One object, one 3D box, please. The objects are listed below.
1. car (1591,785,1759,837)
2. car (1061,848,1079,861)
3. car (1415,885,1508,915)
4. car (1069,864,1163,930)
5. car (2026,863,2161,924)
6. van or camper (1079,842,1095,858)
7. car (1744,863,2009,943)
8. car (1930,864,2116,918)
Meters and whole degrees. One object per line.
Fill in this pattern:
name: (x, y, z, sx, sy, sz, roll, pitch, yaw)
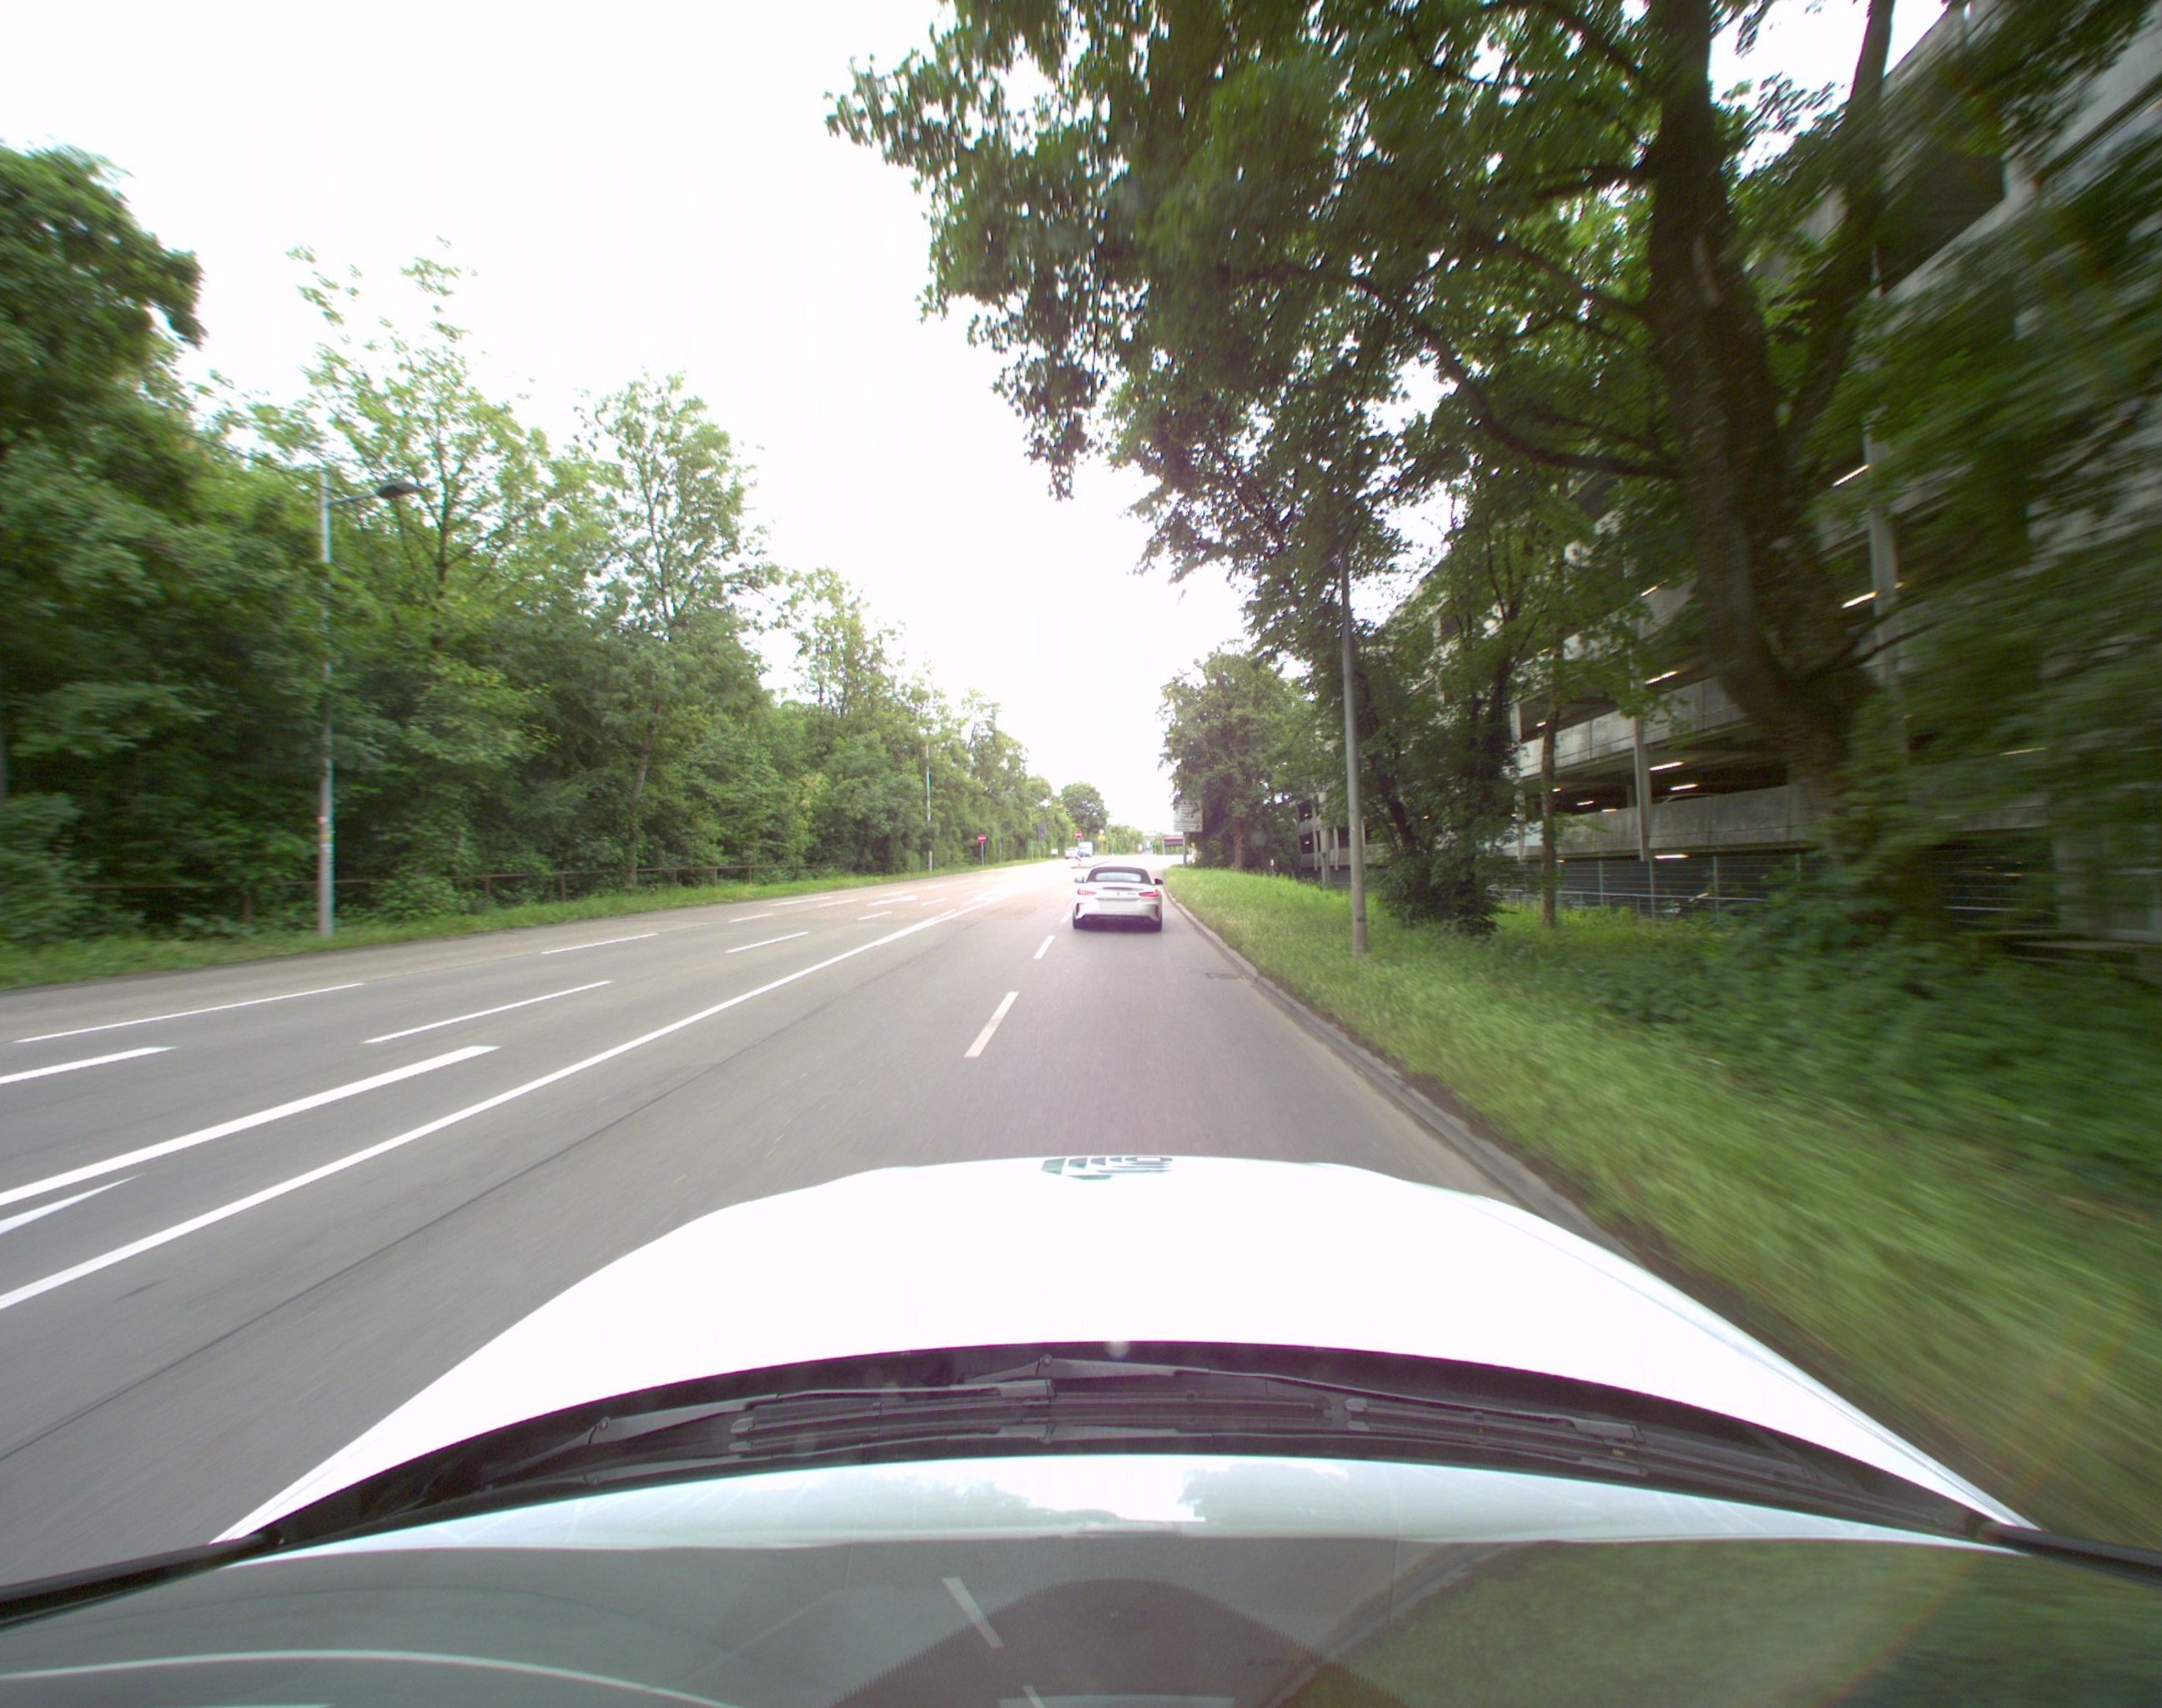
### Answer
car: (18.537, -1.320, 25.590, 3.811, 1.343, 1.837, -3, -1, 8)
car: (-1.580, 0.053, 120.409, 1.802, 1.830, 4.397, -2, 1, 11)
car: (19.939, 2.403, 42.811, 3.989, 1.436, 1.950, -2, -2, 2)
car: (0.845, 0.878, 18.140, 1.866, 1.309, 3.877, 0, -1, 4)
car: (28.929, 1.048, 22.452, 3.647, 1.483, 1.674, -3, -1, 2)
van or camper: (1.061, -0.677, 141.805, 2.272, 2.555, 6.868, 0, -1, 5)
car: (17.574, 1.057, 18.163, 3.971, 1.533, 1.864, -2, -1, 2)
car: (28.947, 1.121, 25.114, 3.647, 1.479, 1.674, -3, -1, 2)
